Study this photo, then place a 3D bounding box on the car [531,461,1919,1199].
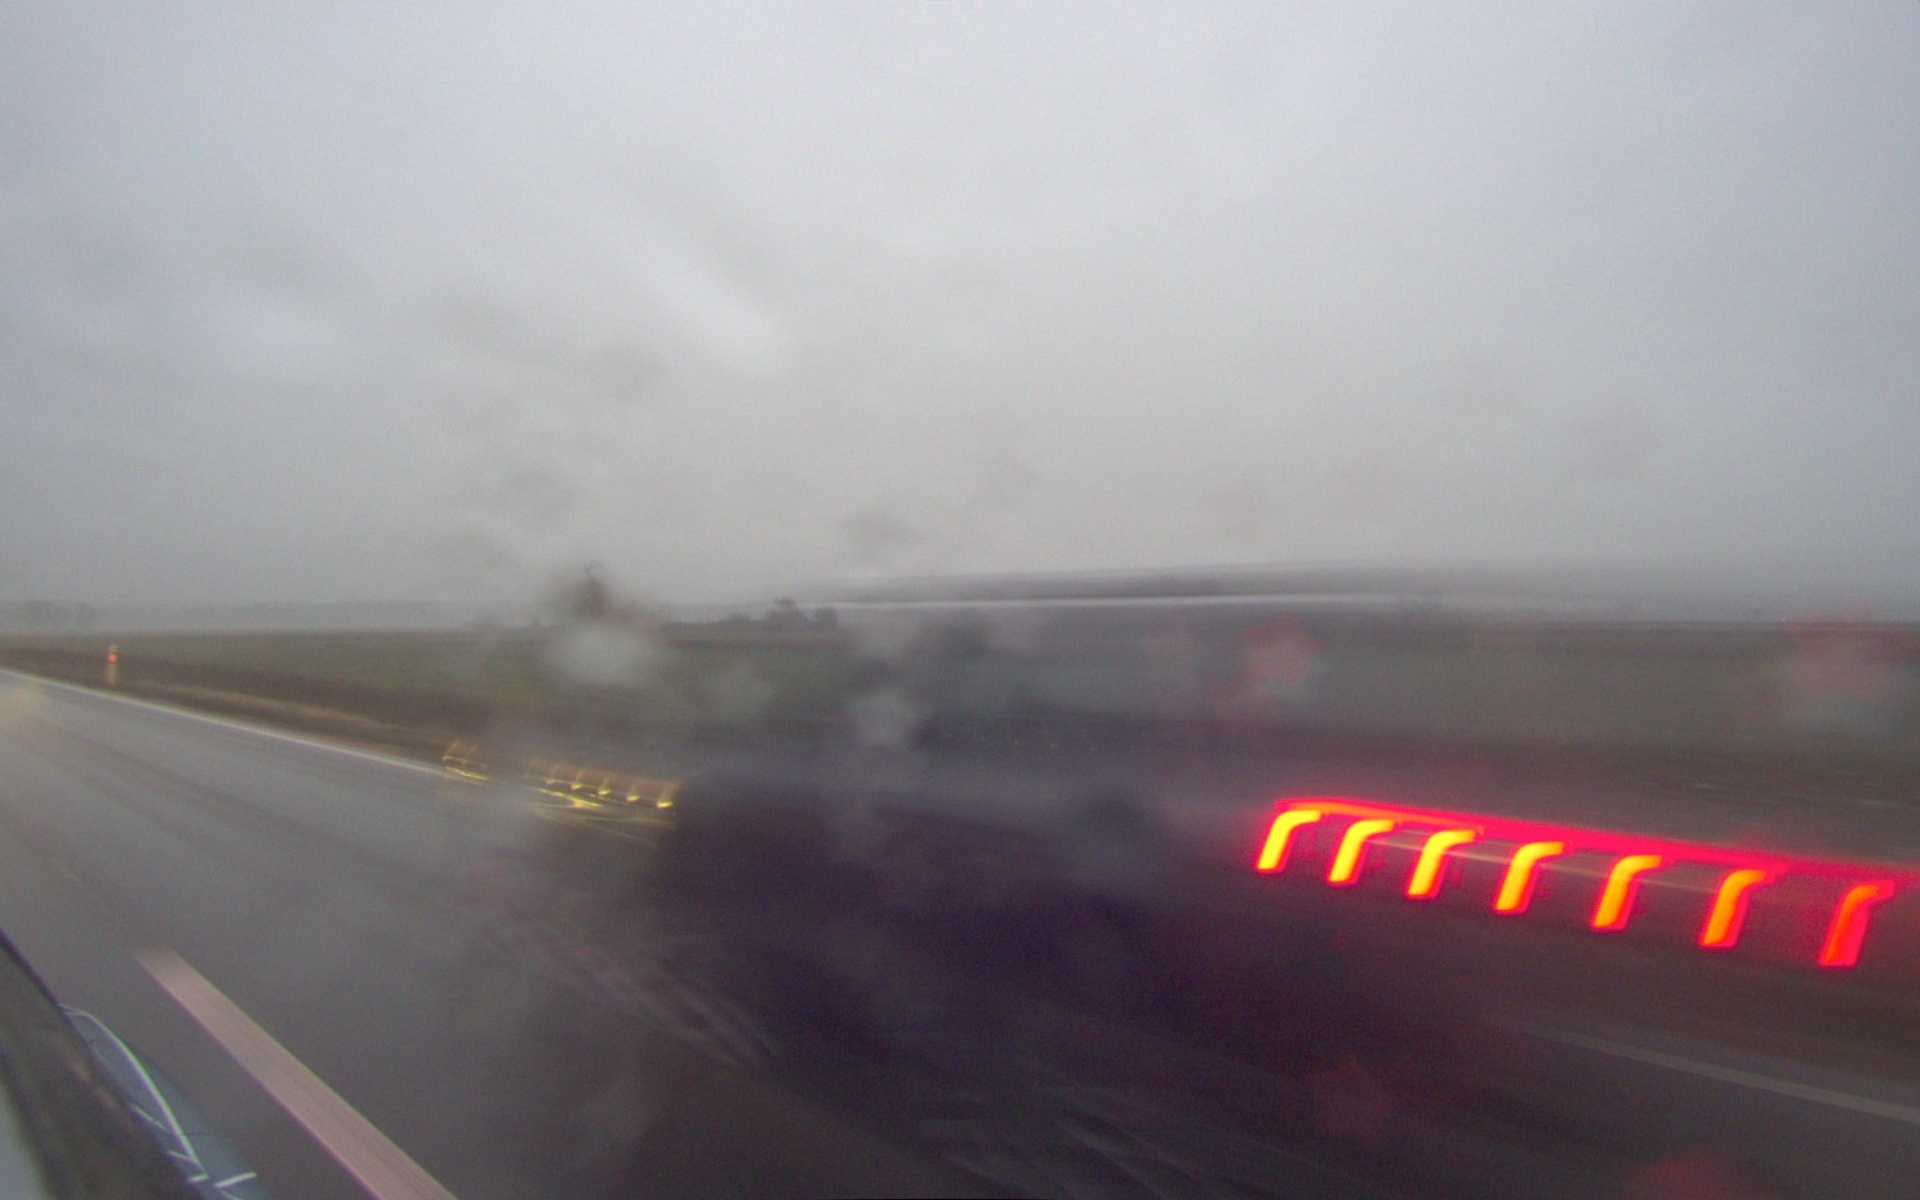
[{"bbox_3d":[0.533,0.708,3.089,3.953,1.734,1.821,-1,0,40],"label":"car"}]
